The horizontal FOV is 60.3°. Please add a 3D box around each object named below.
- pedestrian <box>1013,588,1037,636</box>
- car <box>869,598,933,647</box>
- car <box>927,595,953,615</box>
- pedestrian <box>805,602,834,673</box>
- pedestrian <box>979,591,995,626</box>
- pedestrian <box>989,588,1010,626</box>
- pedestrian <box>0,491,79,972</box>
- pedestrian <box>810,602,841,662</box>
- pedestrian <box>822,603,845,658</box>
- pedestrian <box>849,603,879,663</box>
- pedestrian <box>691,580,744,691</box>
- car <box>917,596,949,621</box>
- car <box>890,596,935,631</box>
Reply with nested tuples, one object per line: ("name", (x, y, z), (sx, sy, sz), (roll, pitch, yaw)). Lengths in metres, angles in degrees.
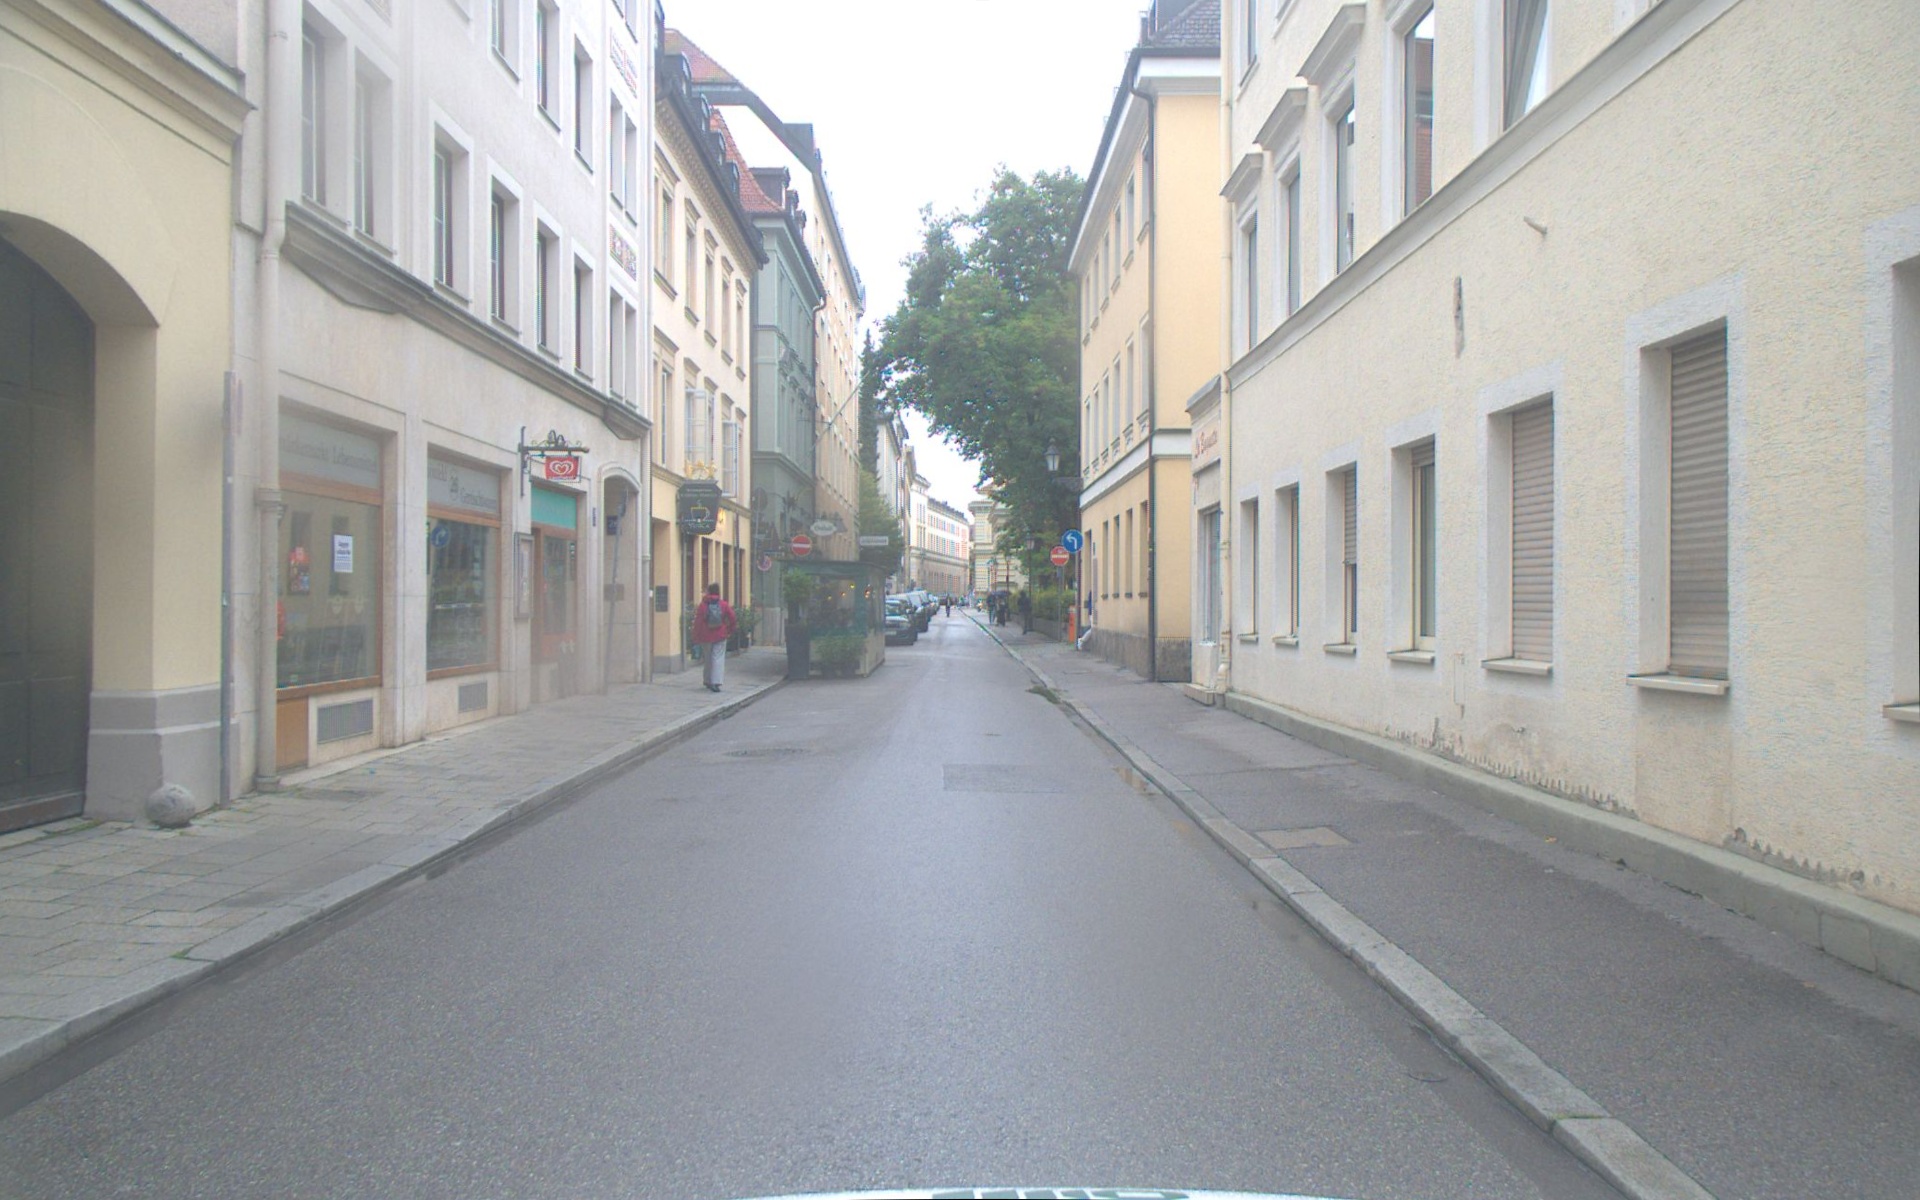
("pedestrian", (2.532, 0.478, 64.500), (0.862, 1.833, 1.046), (1, 0, 0))
("car", (-1.872, 0.713, 53.480), (1.742, 1.492, 3.664), (1, 0, 2))
("car", (-1.471, 0.355, 125.022), (1.742, 1.492, 3.543), (1, 0, 2))
("pedestrian", (-2.706, 0.715, 31.852), (0.499, 1.350, 0.630), (1, 0, -2))
("pedestrian", (1.438, 0.464, 87.948), (0.777, 1.833, 0.903), (1, 0, 0))
("pedestrian", (1.972, 0.342, 82.335), (0.995, 1.833, 1.349), (1, 0, 0))
("pedestrian", (-3.960, 0.482, 6.207), (0.793, 1.786, 0.989), (1, 1, -3))
("pedestrian", (-3.088, 0.731, 38.142), (0.660, 1.350, 0.696), (1, 0, -2))
("pedestrian", (-2.990, 0.717, 39.163), (0.499, 1.259, 0.630), (1, 0, -2))
("pedestrian", (-2.204, 0.751, 37.984), (0.660, 1.350, 0.696), (1, 0, -2))
("pedestrian", (-3.881, 0.560, 26.534), (0.750, 1.738, 0.785), (0, 0, -3))
("car", (-1.641, 0.503, 102.733), (1.742, 1.492, 3.543), (1, 0, 2))
("car", (-2.069, 0.579, 73.001), (1.742, 1.492, 3.543), (1, 0, 2))
